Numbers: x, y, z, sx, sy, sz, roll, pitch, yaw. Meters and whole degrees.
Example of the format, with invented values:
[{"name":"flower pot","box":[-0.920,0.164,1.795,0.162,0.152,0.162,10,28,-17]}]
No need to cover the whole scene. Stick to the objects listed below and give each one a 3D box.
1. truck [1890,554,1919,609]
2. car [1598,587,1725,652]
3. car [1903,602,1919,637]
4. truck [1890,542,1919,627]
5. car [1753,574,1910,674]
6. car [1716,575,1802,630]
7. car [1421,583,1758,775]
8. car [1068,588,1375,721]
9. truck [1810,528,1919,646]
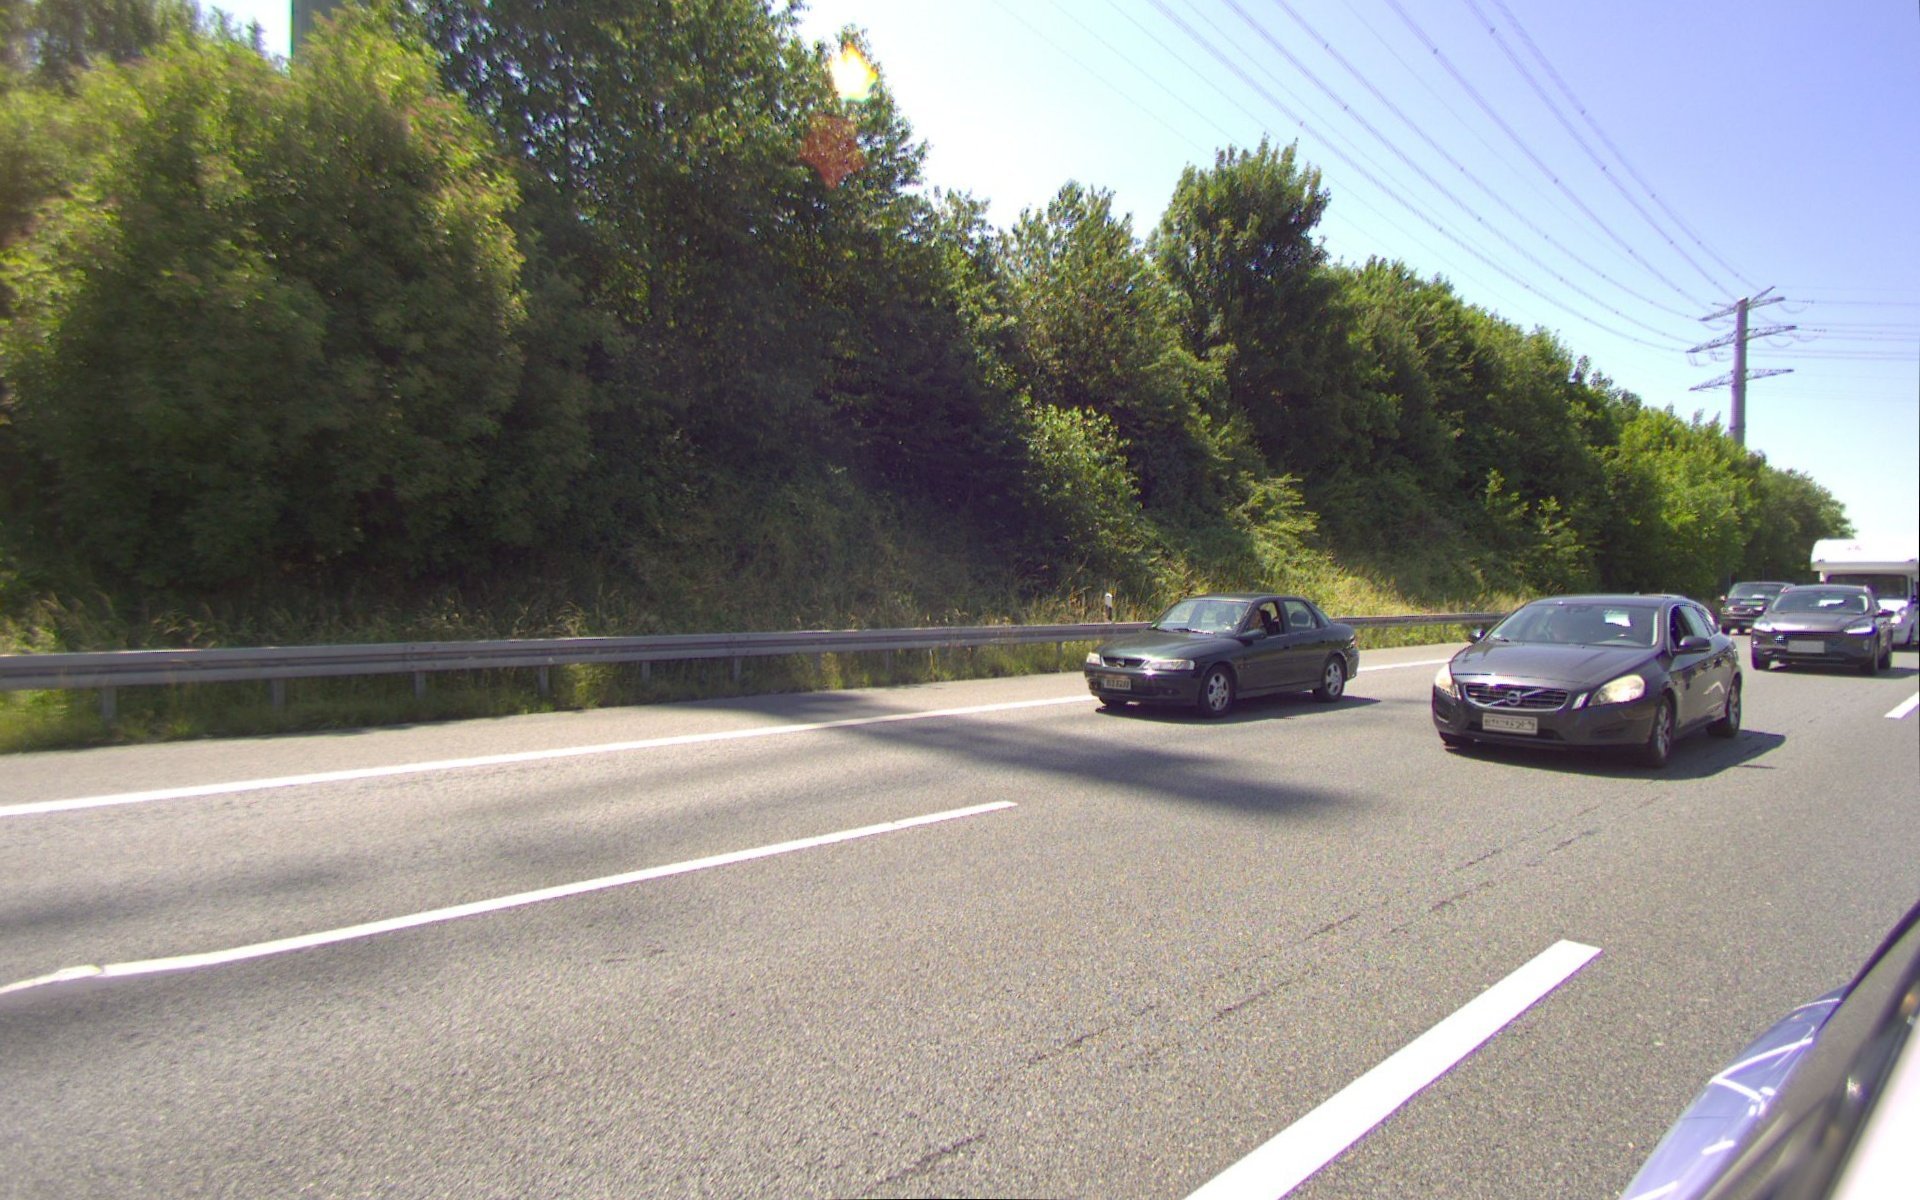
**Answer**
[{"name":"truck","box":[66.293,-1.245,69.884,9.038,3.623,2.405,-1,1,-43]},{"name":"car","box":[17.478,0.431,25.155,3.945,1.488,1.743,-1,1,-42]},{"name":"car","box":[50.586,0.998,52.702,4.310,1.724,1.889,-1,1,-43]},{"name":"truck","box":[38.251,-0.610,38.993,9.725,3.052,2.512,-1,1,-41]},{"name":"car","box":[17.024,0.384,19.693,4.310,1.724,1.889,-1,1,-43]},{"name":"car","box":[29.663,0.043,37.522,4.618,1.928,1.786,-1,1,-42]},{"name":"car","box":[6.231,0.572,9.813,4.160,1.455,1.798,-1,1,-43]},{"name":"car","box":[3.433,0.556,12.835,4.228,1.395,1.737,-1,1,-42]},{"name":"truck","box":[27.806,-0.396,29.998,9.725,3.052,2.512,-1,1,-41]}]
